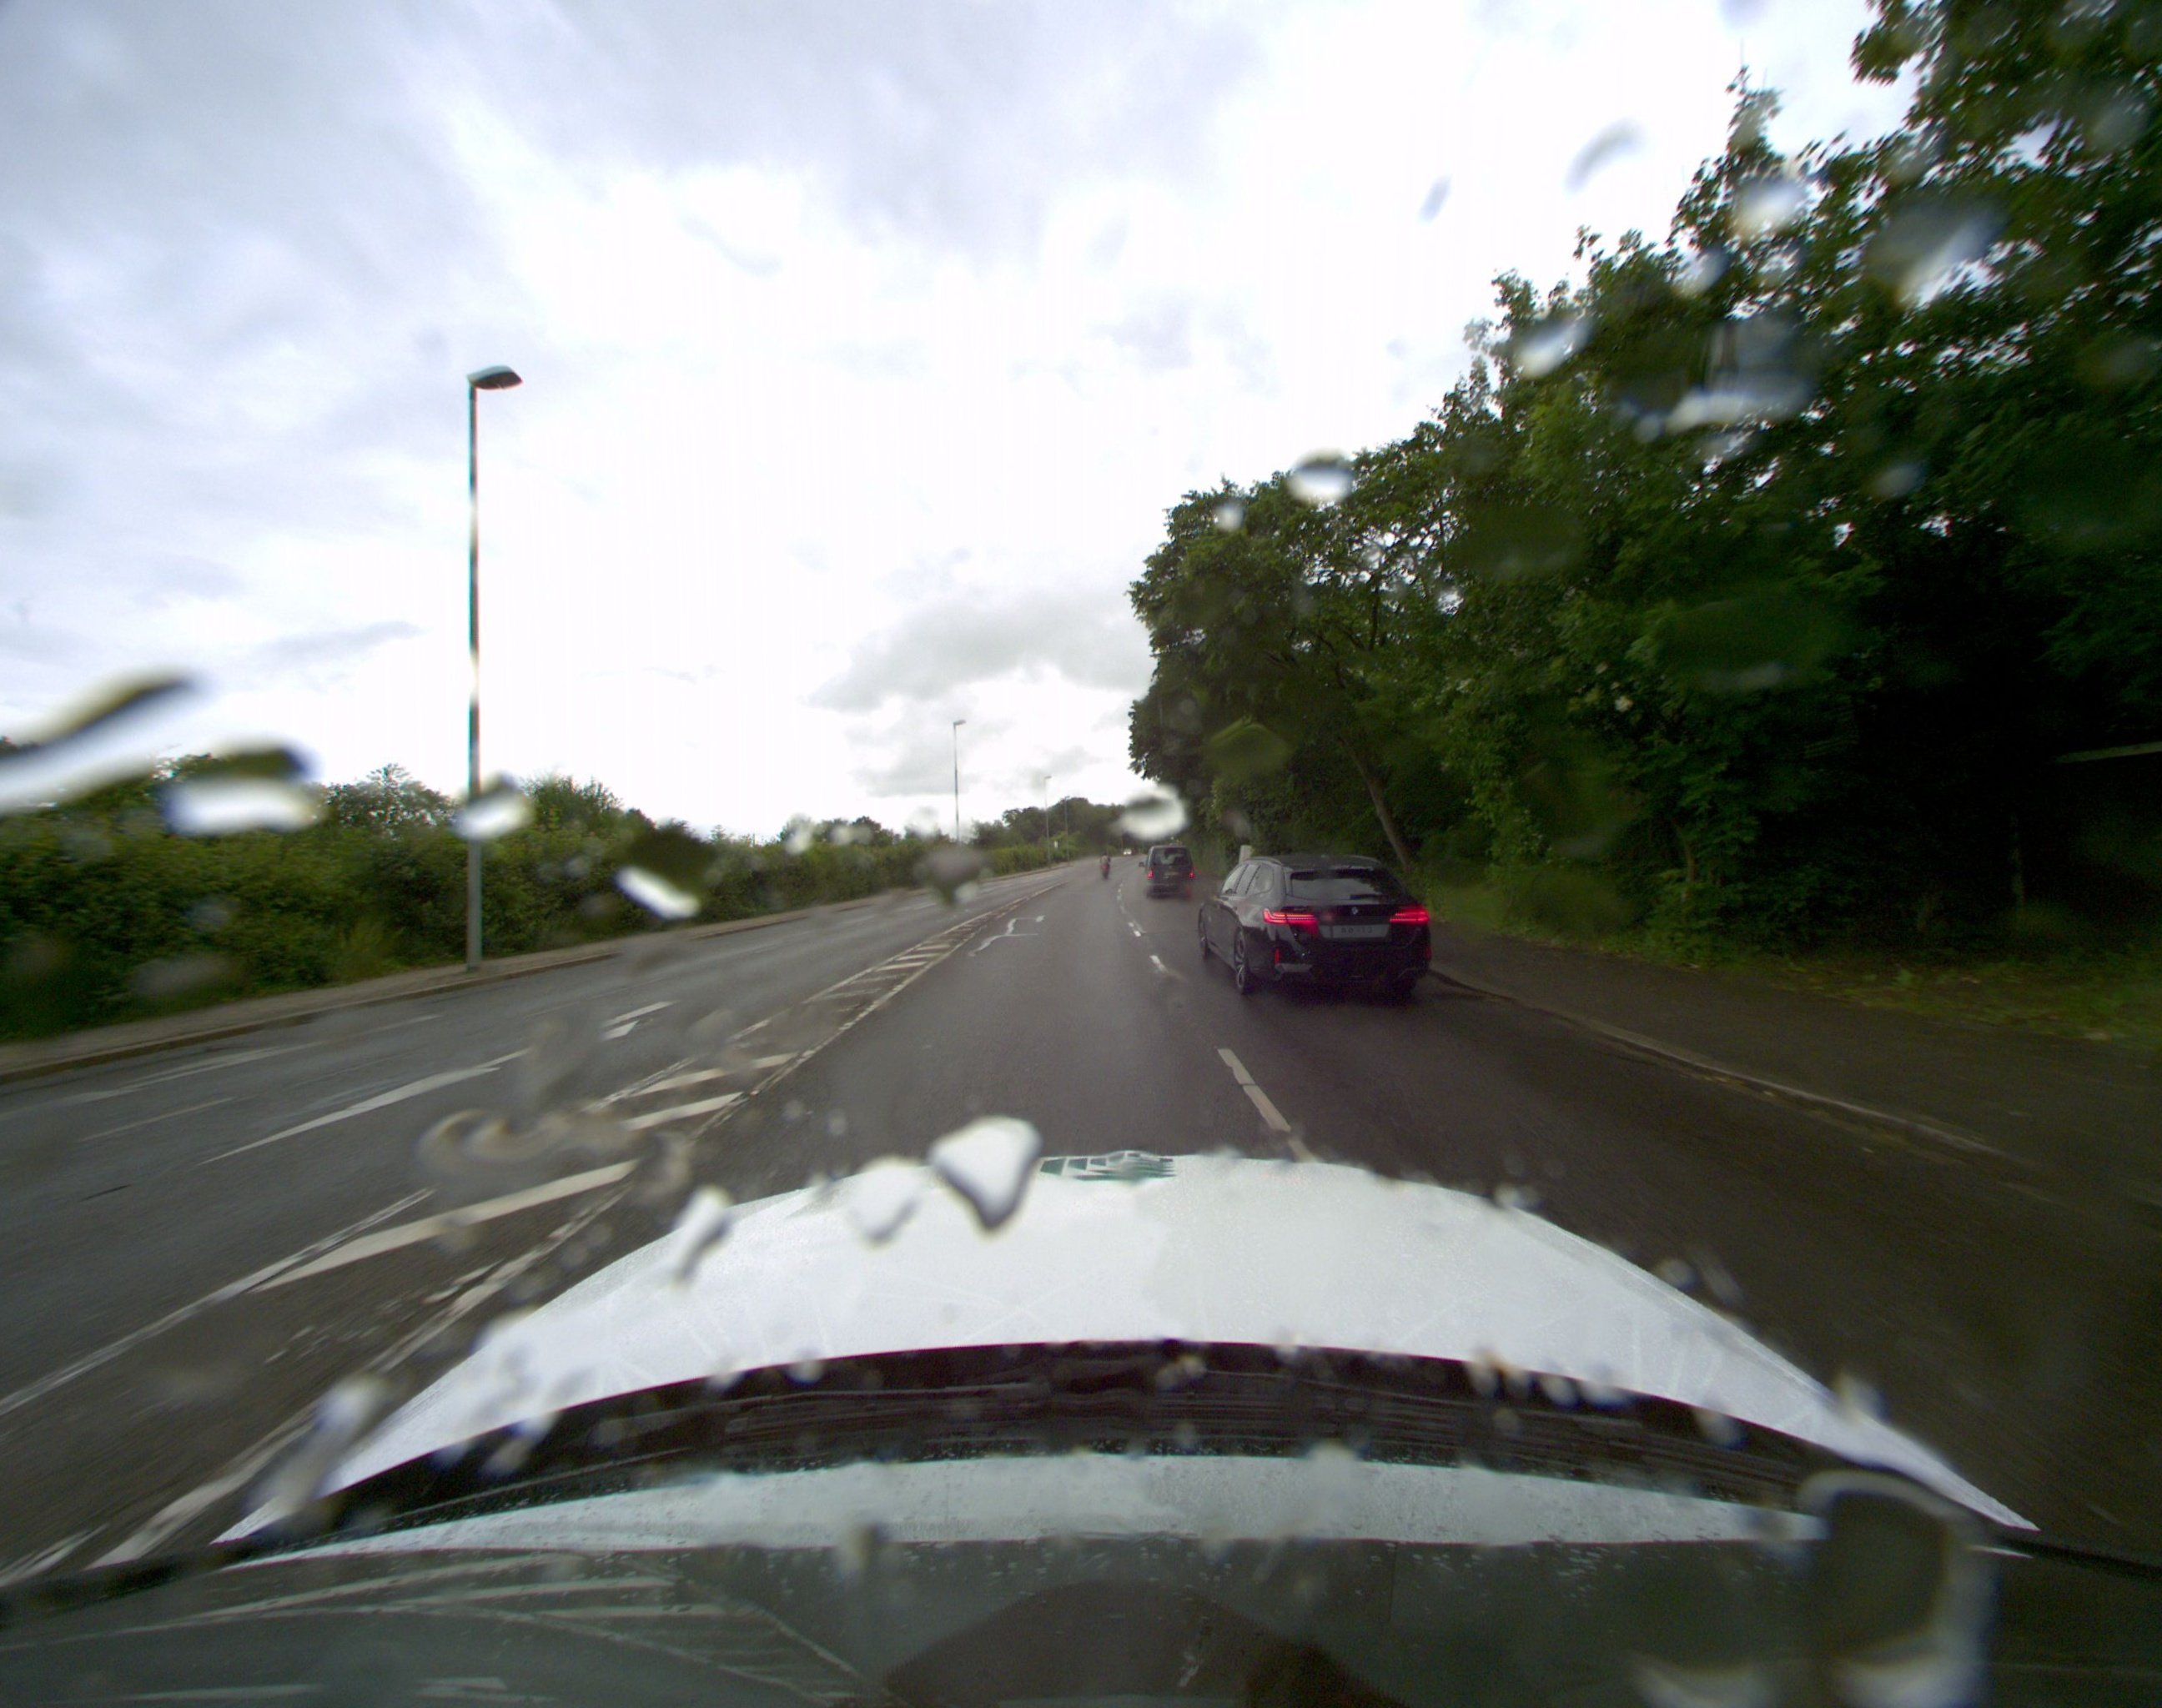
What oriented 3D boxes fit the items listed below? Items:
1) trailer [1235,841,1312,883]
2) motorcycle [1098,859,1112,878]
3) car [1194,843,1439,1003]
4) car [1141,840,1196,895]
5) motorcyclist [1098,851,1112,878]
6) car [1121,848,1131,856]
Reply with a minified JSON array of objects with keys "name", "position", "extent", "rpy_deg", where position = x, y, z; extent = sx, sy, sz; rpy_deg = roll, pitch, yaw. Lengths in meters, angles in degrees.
[{"name":"trailer","position":[9.282,0.386,39.377],"extent":[3.334,1.647,1.200],"rpy_deg":[6,1,3]},{"name":"motorcycle","position":[1.546,0.917,51.962],"extent":[0.738,1.119,1.429],"rpy_deg":[-1,1,5]},{"name":"car","position":[2.553,0.670,9.757],"extent":[1.760,1.536,3.669],"rpy_deg":[0,0,-2]},{"name":"car","position":[3.138,0.438,29.815],"extent":[1.759,1.810,3.909],"rpy_deg":[-2,1,3]},{"name":"motorcyclist","position":[1.541,0.669,51.941],"extent":[0.841,1.647,0.468],"rpy_deg":[-2,1,5]},{"name":"car","position":[10.349,-0.504,185.786],"extent":[1.746,1.662,3.848],"rpy_deg":[-1,1,-5]}]
